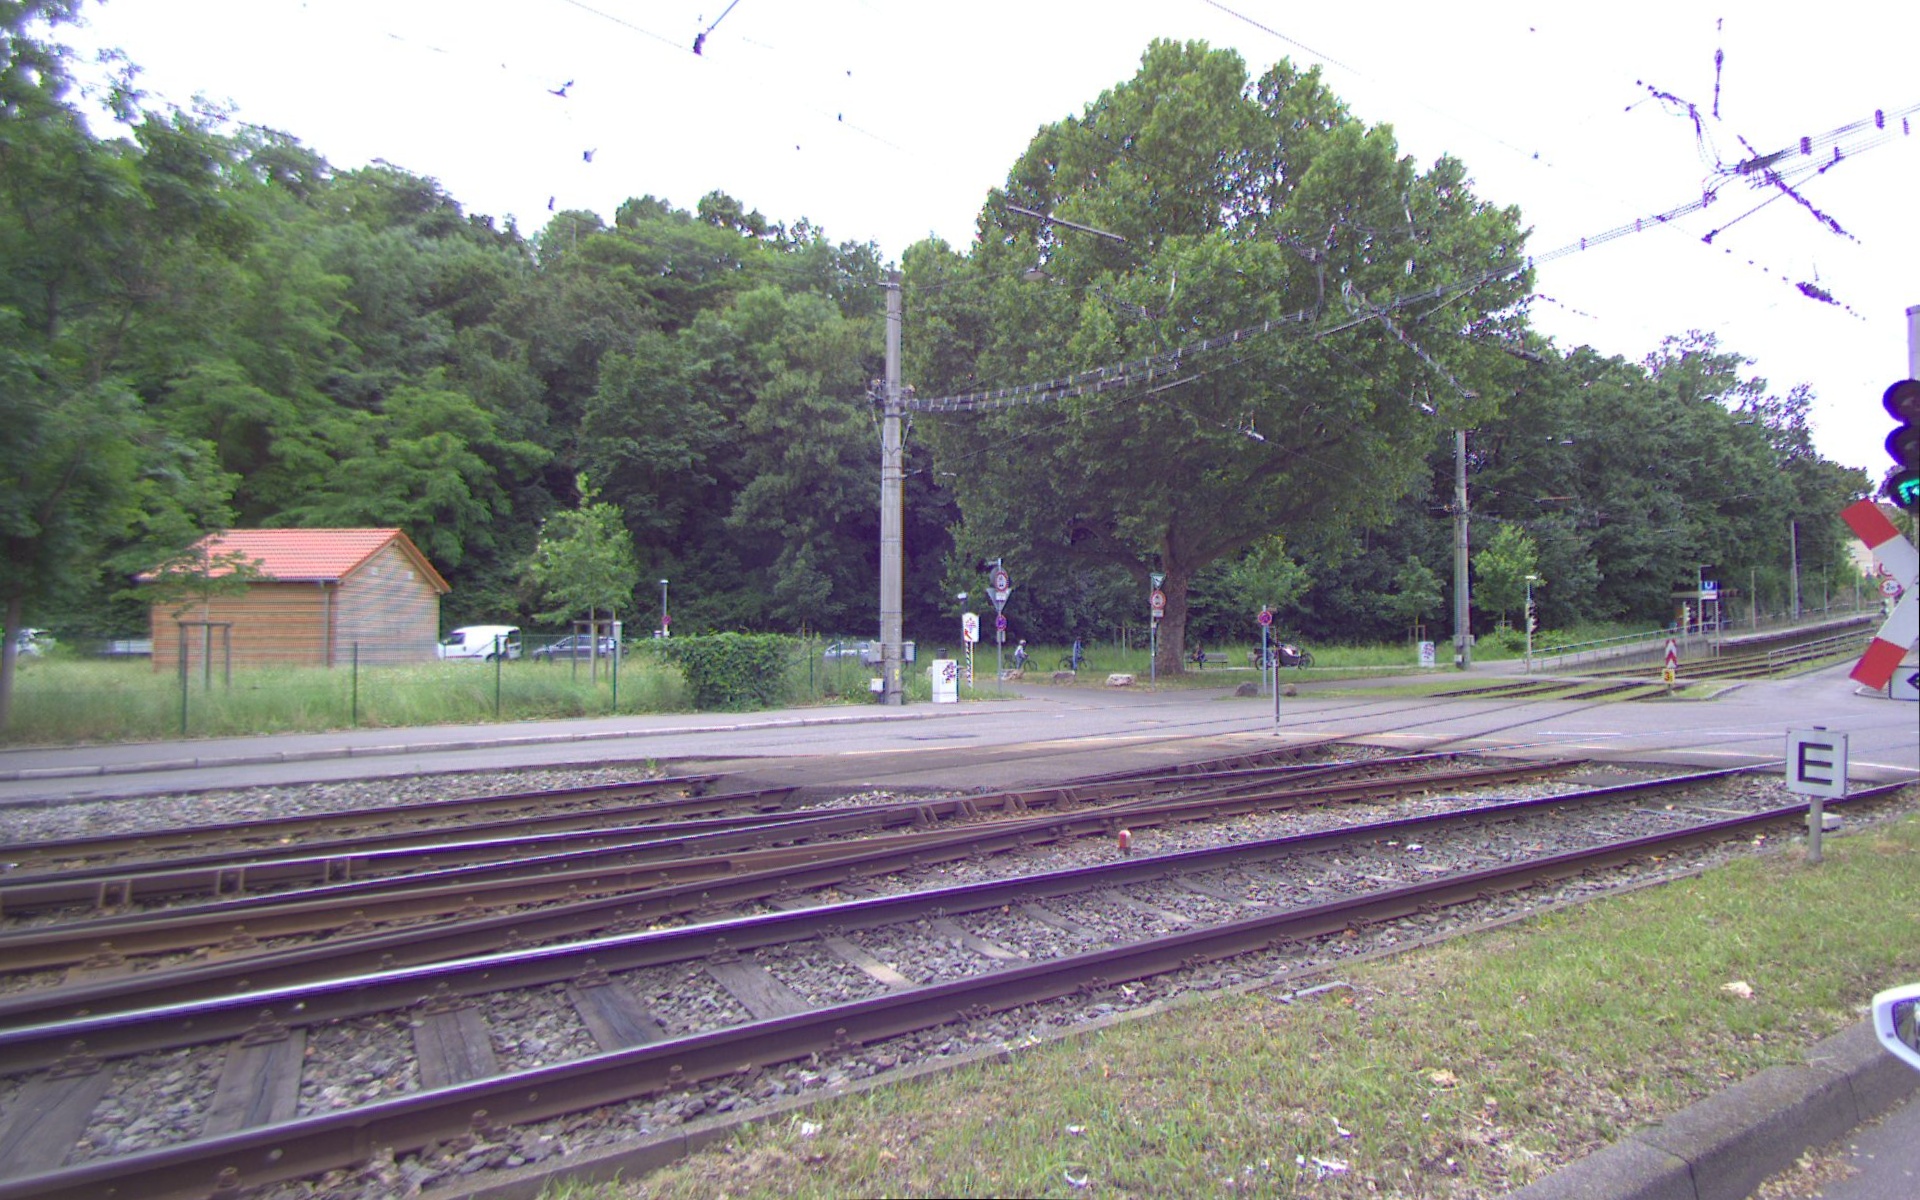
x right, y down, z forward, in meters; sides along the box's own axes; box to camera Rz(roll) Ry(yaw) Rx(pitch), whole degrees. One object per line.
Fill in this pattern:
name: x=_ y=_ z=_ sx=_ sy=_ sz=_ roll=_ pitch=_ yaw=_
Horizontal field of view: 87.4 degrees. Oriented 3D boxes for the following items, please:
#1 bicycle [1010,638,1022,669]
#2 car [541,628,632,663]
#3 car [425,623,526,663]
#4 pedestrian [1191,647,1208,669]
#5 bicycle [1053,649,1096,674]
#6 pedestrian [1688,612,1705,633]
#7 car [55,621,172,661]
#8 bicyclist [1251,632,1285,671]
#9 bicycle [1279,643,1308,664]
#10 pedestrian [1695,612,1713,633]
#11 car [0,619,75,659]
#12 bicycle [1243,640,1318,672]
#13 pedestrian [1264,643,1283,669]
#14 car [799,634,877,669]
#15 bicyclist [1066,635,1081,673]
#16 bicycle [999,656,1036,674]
bicycle: x=2.534 y=2.391 z=45.249 sx=0.506 sy=1.348 sz=0.455 roll=-1 pitch=2 yaw=3
car: x=-16.860 y=2.037 z=45.471 sx=3.436 sy=1.443 sz=1.700 roll=2 pitch=0 yaw=-3
car: x=-21.907 y=1.936 z=45.529 sx=3.610 sy=1.634 sz=1.909 roll=2 pitch=0 yaw=-3
pedestrian: x=11.511 y=2.794 z=48.273 sx=0.610 sy=1.003 sz=0.530 roll=2 pitch=0 yaw=-15
bicycle: x=5.240 y=2.804 z=46.009 sx=1.909 sy=1.055 sz=0.474 roll=0 pitch=1 yaw=-8
pedestrian: x=49.135 y=1.473 z=67.005 sx=0.780 sy=1.344 sz=0.766 roll=-1 pitch=2 yaw=-37
car: x=-37.593 y=1.815 z=44.686 sx=3.610 sy=1.634 sz=1.757 roll=2 pitch=0 yaw=-3
bicyclist: x=14.222 y=2.374 z=46.396 sx=1.268 sy=1.734 sz=0.734 roll=-2 pitch=2 yaw=-7
bicycle: x=16.379 y=2.622 z=49.372 sx=0.611 sy=0.897 sz=1.743 roll=2 pitch=0 yaw=-10
pedestrian: x=50.057 y=1.515 z=67.541 sx=0.780 sy=1.344 sz=0.766 roll=2 pitch=0 yaw=-38
car: x=-41.786 y=1.686 z=44.365 sx=3.612 sy=1.634 sz=1.756 roll=2 pitch=0 yaw=-6
bicycle: x=14.821 y=2.601 z=46.490 sx=3.284 sy=1.307 sz=0.734 roll=-2 pitch=2 yaw=-7
pedestrian: x=15.306 y=2.731 z=49.024 sx=0.662 sy=1.251 sz=0.578 roll=2 pitch=0 yaw=-16
car: x=-5.653 y=2.385 z=46.852 sx=3.436 sy=1.443 sz=1.700 roll=2 pitch=0 yaw=-3
bicyclist: x=5.187 y=2.483 z=45.996 sx=0.612 sy=1.697 sz=0.474 roll=0 pitch=2 yaw=-8
bicycle: x=2.582 y=2.942 z=45.257 sx=1.620 sy=0.749 sz=0.455 roll=-1 pitch=2 yaw=2
